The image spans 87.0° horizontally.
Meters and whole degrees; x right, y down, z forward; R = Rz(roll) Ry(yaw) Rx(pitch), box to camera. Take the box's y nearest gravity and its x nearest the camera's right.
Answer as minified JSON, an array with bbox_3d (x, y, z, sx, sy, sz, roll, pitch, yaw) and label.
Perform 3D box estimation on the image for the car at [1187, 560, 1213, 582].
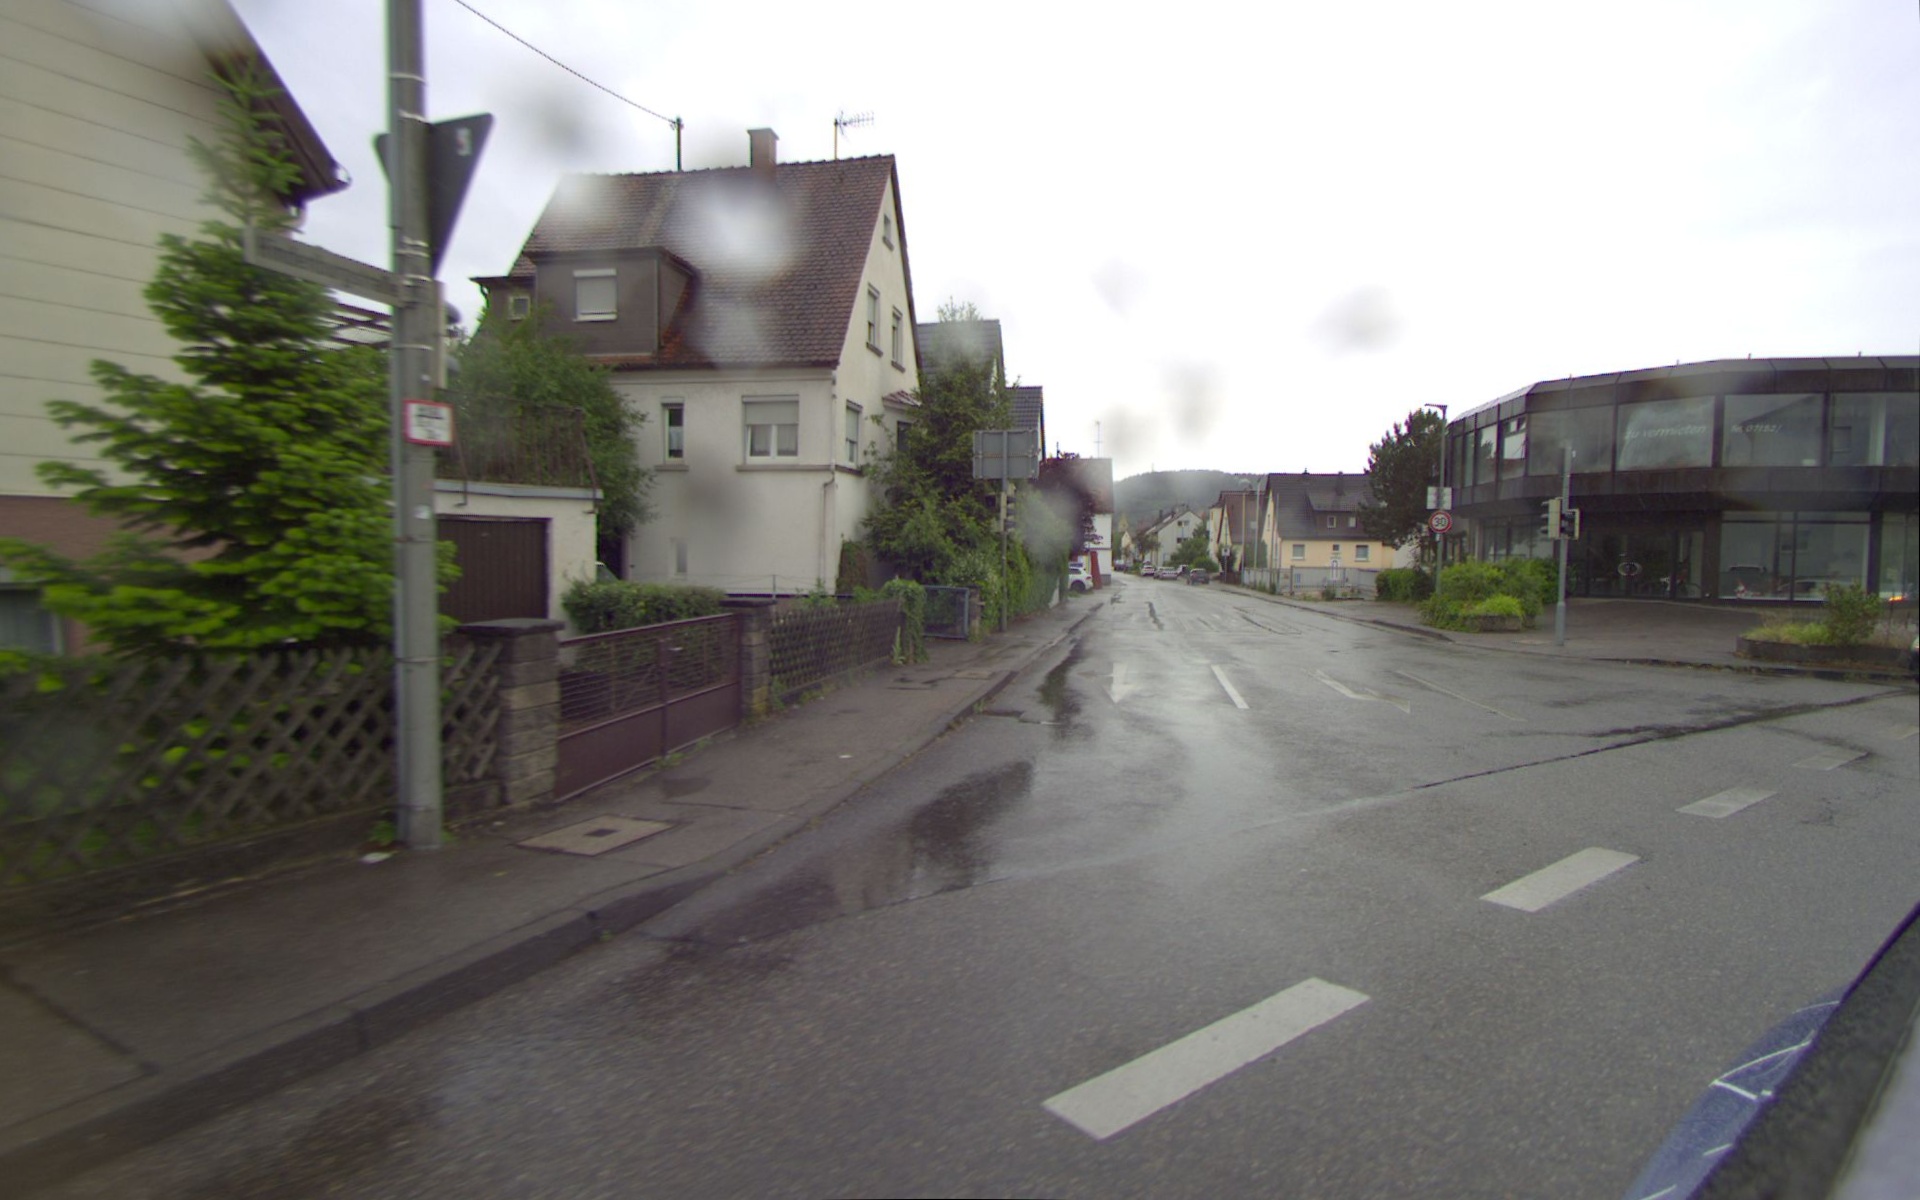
[{"bbox_3d":[22.833,-2.799,96.354,1.966,2.038,3.993,2,2,8],"label":"car"}]

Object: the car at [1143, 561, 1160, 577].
[{"bbox_3d":[26.423,-4.313,139.828,1.965,2.038,3.995,1,2,6],"label":"car"}]

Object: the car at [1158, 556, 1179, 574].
[{"bbox_3d":[24.128,-4.046,117.194,1.966,2.038,3.994,1,2,7],"label":"car"}]

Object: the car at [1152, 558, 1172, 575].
[{"bbox_3d":[24.734,-4.124,124.098,1.965,2.038,3.995,1,2,6],"label":"car"}]

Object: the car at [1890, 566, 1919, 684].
[{"bbox_3d":[16.705,0.410,14.917,4.552,1.771,2.004,0,2,-10],"label":"car"}]

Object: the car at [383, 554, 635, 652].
[{"bbox_3d":[-7.863,0.001,17.791,3.684,1.515,1.845,2,2,12],"label":"car"}]
